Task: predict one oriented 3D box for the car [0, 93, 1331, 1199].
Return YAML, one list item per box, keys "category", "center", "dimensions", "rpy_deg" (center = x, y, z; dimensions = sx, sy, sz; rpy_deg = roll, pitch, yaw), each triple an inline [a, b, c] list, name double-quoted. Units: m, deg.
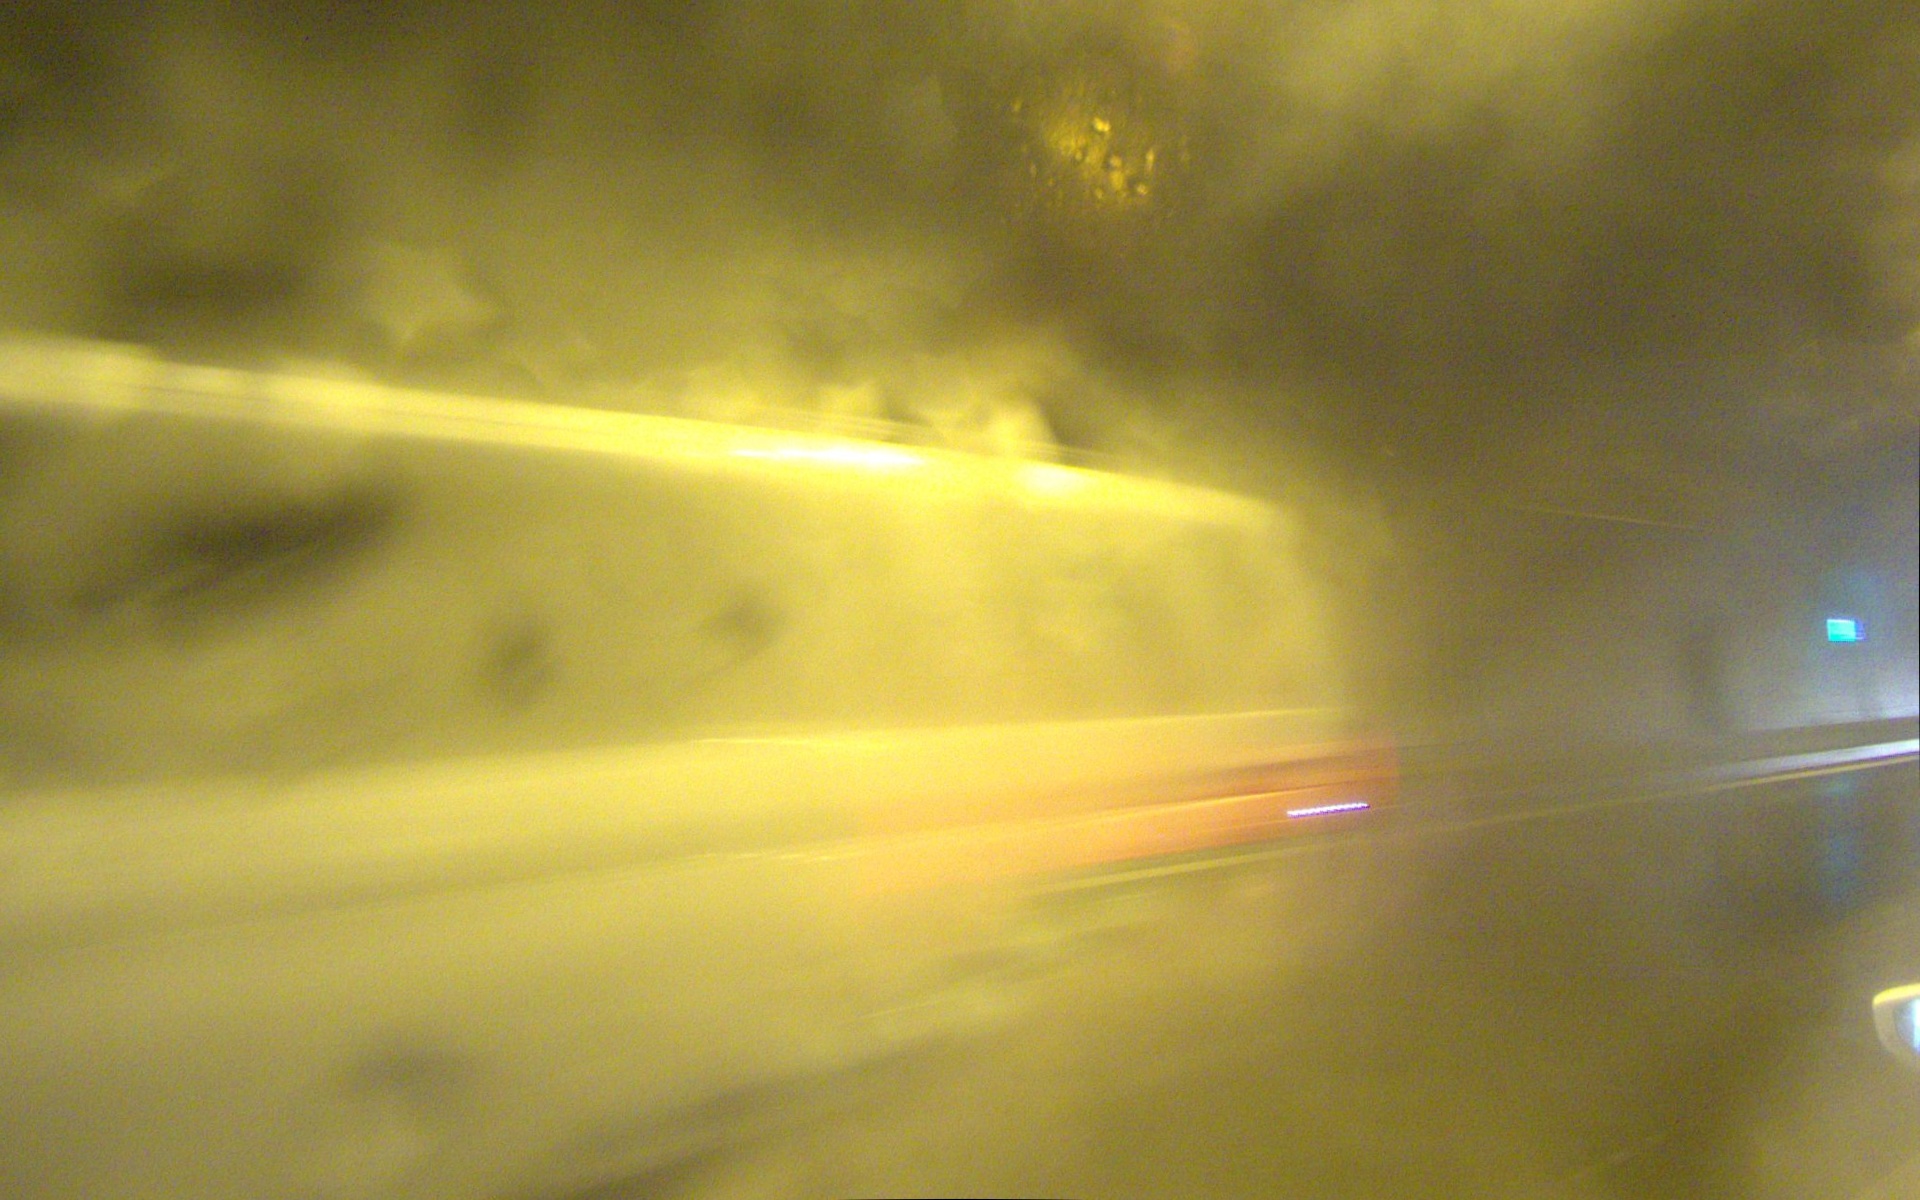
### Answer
- category: "car"
  center: [-1.573, 0.394, 2.221]
  dimensions: [4.505, 2.040, 2.076]
  rpy_deg: [1, 0, -30]
